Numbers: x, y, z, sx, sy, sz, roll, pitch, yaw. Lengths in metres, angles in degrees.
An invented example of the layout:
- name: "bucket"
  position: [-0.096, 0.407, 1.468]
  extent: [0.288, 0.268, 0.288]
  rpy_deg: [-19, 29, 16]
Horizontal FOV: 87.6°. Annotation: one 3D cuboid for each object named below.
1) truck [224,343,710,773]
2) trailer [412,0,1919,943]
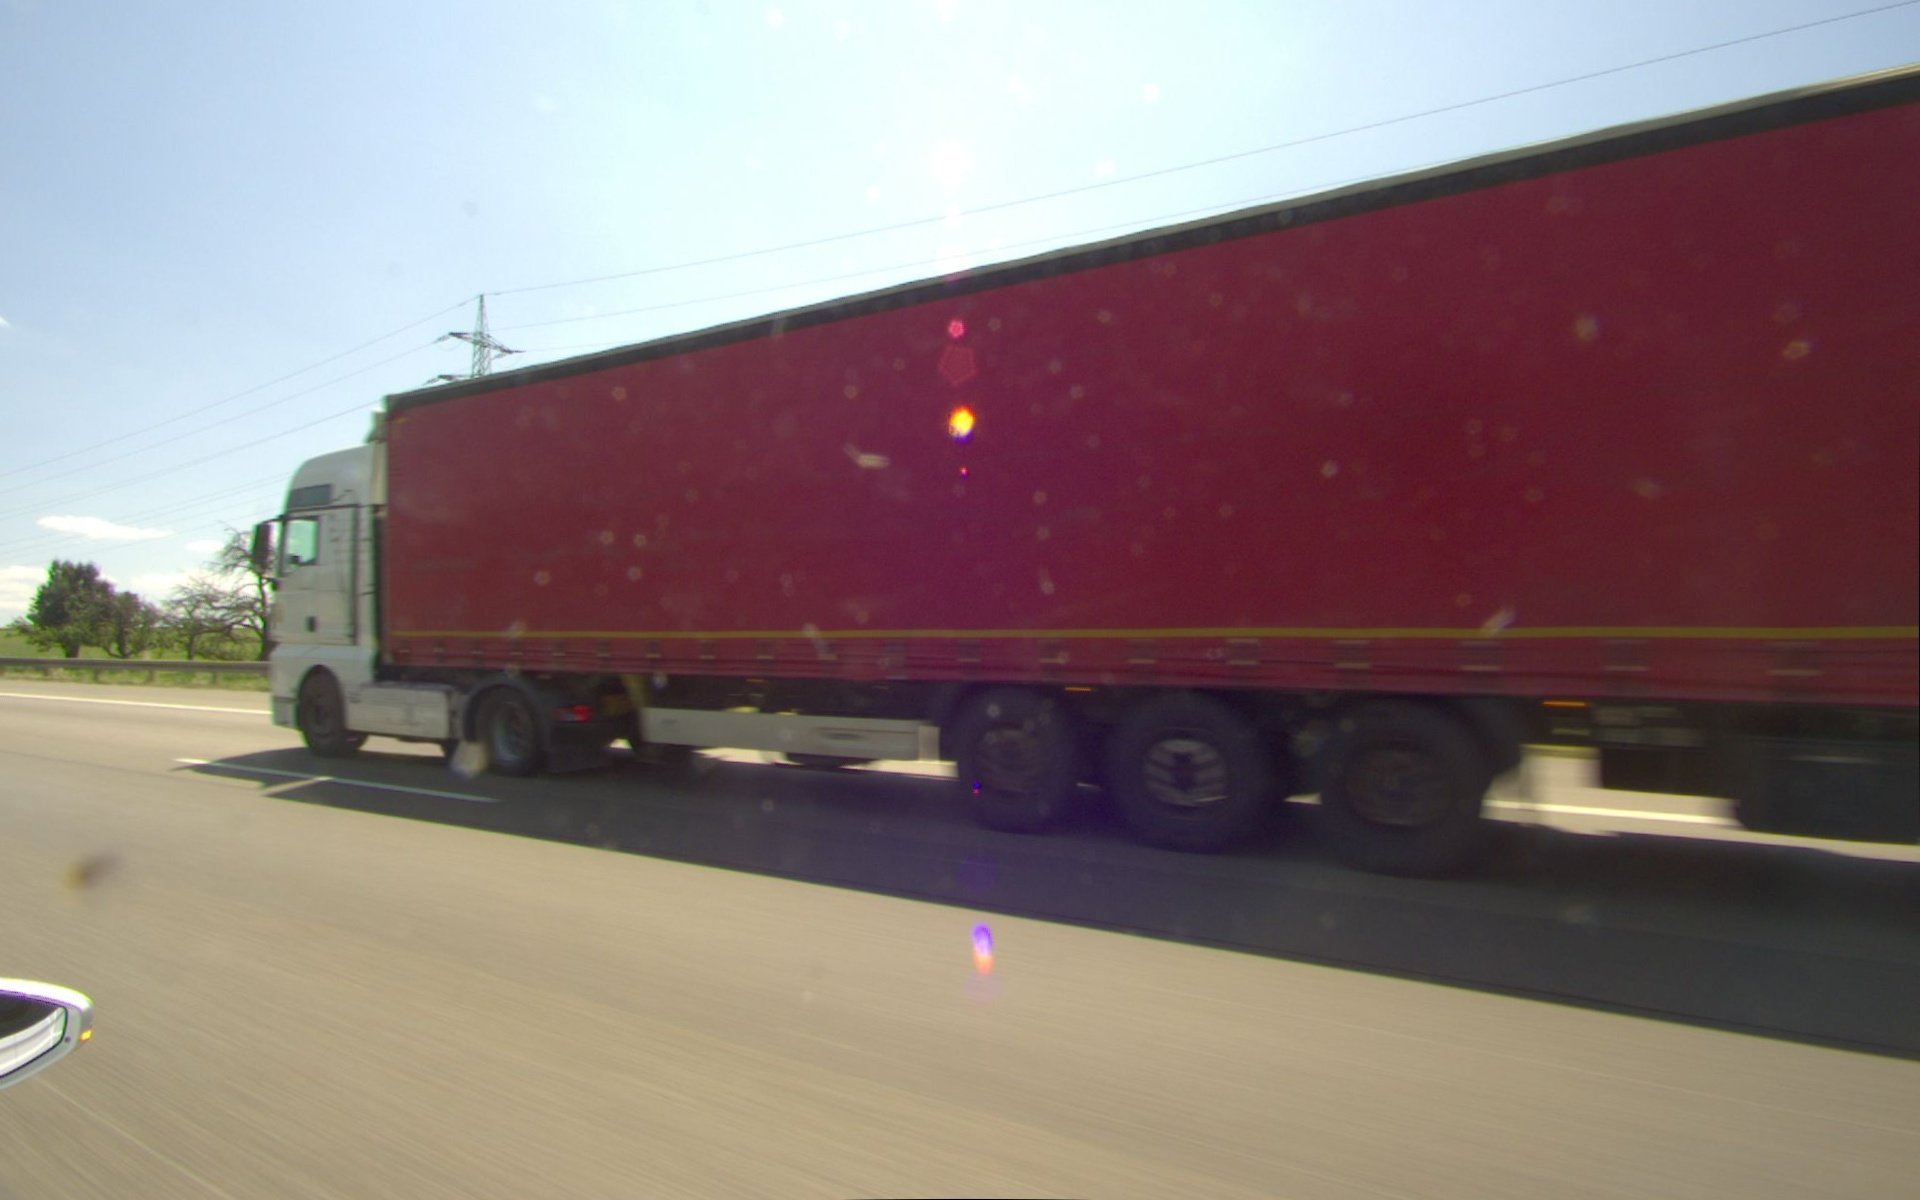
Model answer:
- name: "truck"
  position: [-6.274, -0.320, 12.496]
  extent: [6.158, 4.207, 2.557]
  rpy_deg: [-1, -2, 32]
- name: "trailer"
  position: [0.216, -0.499, 8.488]
  extent: [12.847, 4.318, 2.597]
  rpy_deg: [-1, -2, 32]
